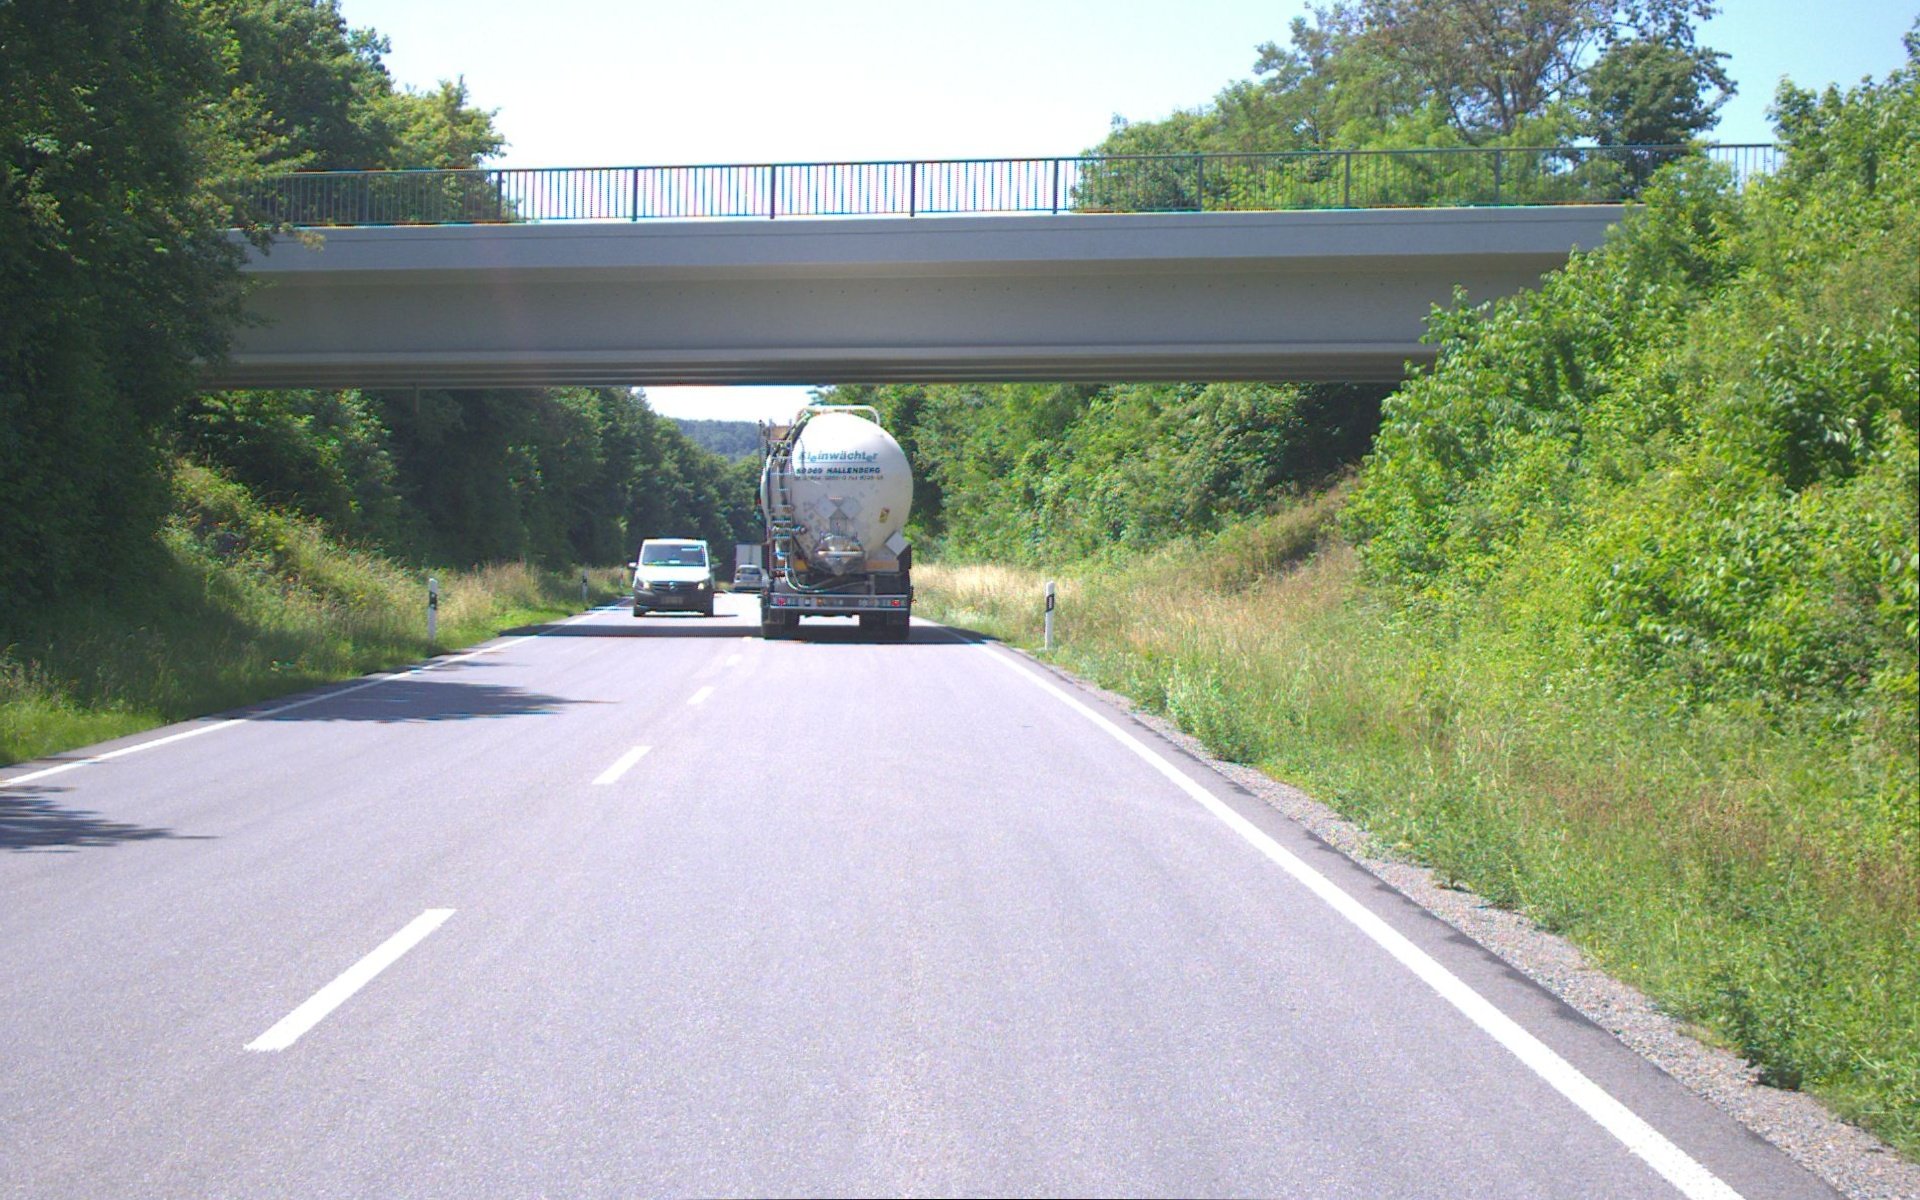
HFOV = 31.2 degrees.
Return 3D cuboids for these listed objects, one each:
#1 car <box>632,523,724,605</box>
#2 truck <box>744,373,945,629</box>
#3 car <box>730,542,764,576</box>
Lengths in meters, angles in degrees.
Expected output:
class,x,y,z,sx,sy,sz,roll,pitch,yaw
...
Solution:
class,x,y,z,sx,sy,sz,roll,pitch,yaw
car,-6.753,-0.888,82.822,1.931,1.899,5.328,0,1,-2
truck,-2.061,-1.589,63.531,3.049,3.985,15.637,3,0,-1
car,-13.003,-2.498,209.791,1.993,2.007,4.001,1,1,-4
